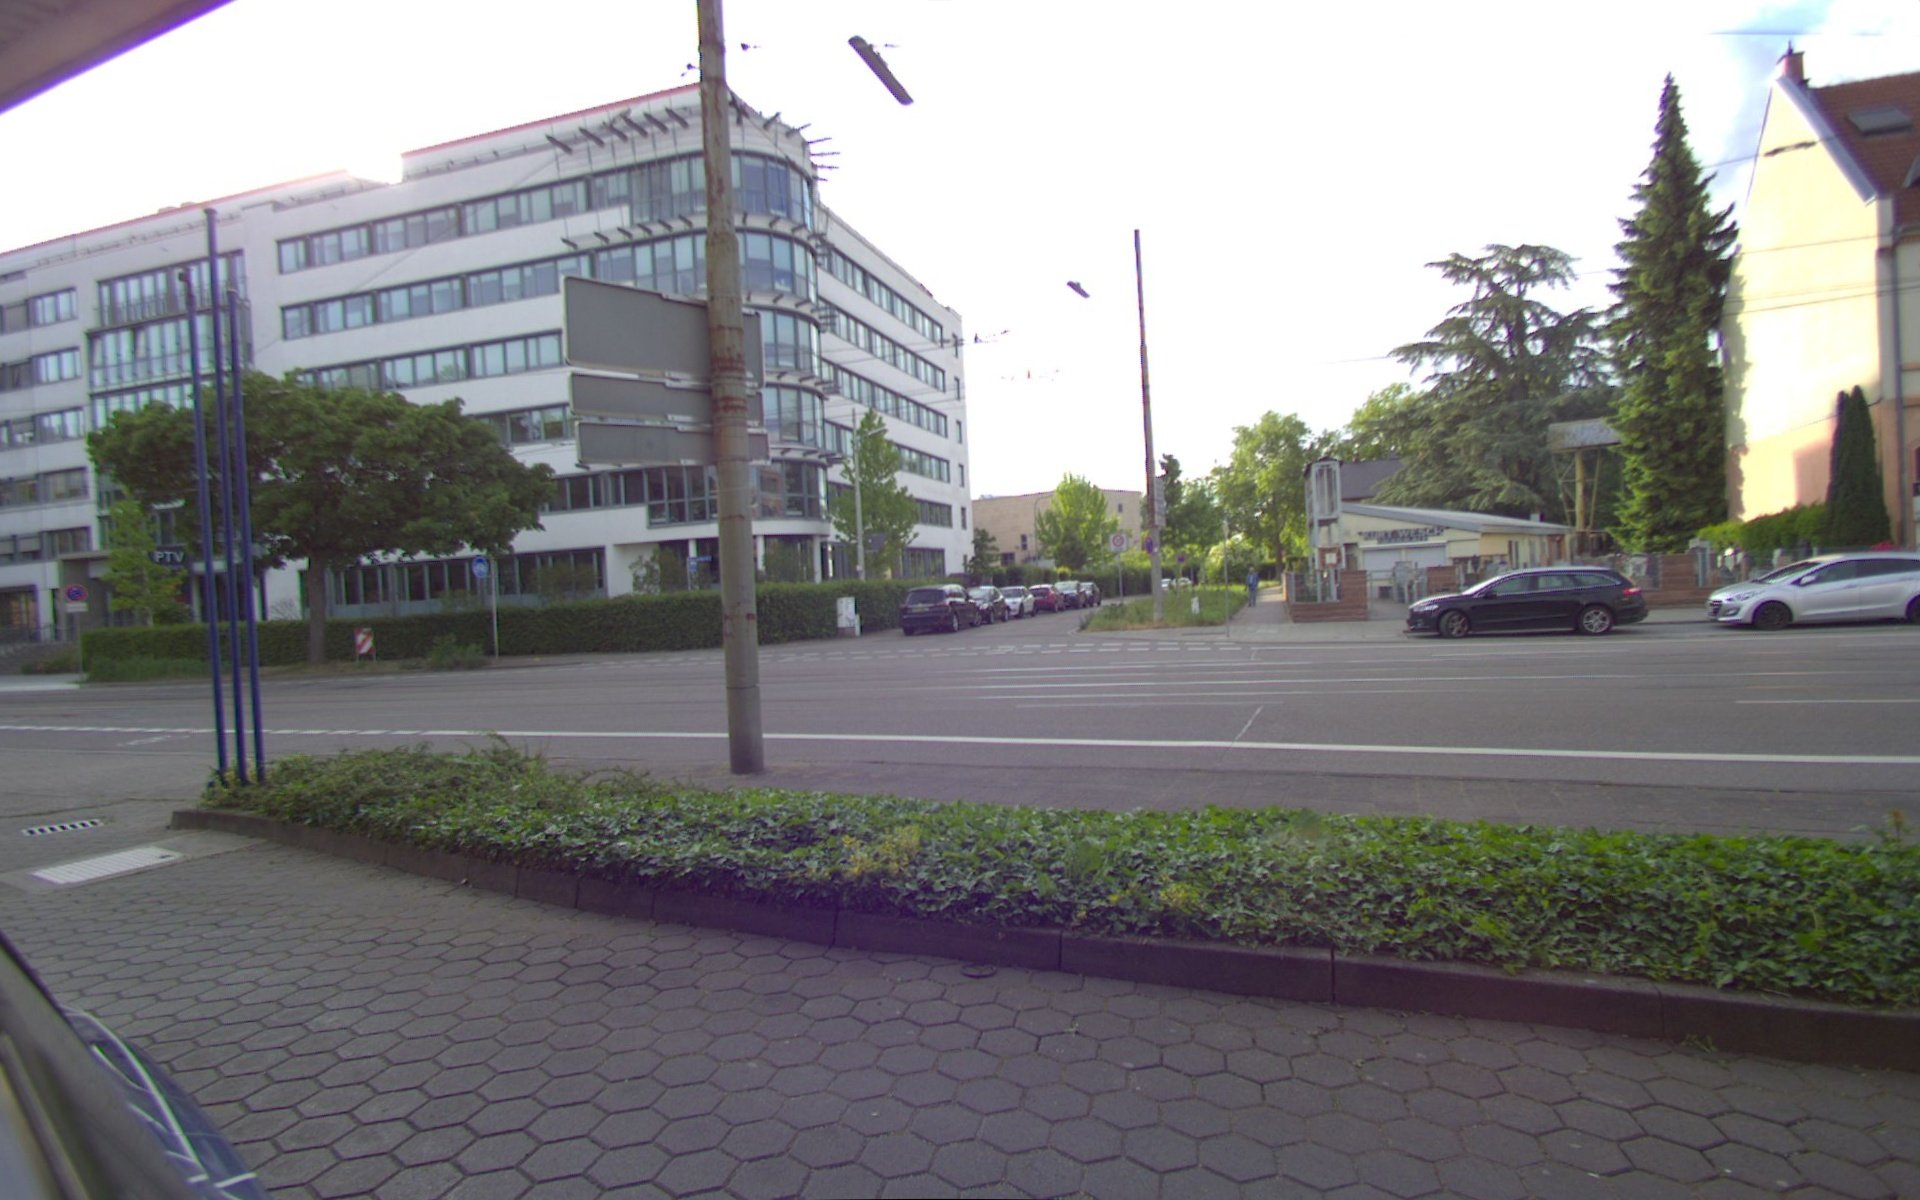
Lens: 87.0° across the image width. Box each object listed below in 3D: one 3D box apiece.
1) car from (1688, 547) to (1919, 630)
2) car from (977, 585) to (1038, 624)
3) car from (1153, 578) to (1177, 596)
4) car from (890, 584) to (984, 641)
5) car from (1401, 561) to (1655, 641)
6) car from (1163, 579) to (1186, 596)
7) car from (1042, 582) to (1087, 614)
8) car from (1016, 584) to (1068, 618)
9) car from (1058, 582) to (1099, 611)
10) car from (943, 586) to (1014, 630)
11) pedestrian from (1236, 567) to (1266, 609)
[{"bbox_3d":[18.493,-0.260,21.498,4.459,1.486,1.986,-4,0,22],"label":"car"},{"bbox_3d":[2.207,0.174,45.755,1.773,1.565,4.083,-4,0,17],"label":"car"},{"bbox_3d":[20.426,-1.273,100.614,1.774,1.653,4.060,-4,0,19],"label":"car"},{"bbox_3d":[-0.722,0.379,35.536,1.962,1.625,4.411,-4,2,17],"label":"car"},{"bbox_3d":[12.917,0.041,23.415,4.791,1.507,1.986,-3,0,22],"label":"car"},{"bbox_3d":[22.565,-1.302,106.311,1.774,1.653,4.060,-4,0,19],"label":"car"},{"bbox_3d":[5.982,-0.138,57.661,1.773,1.653,4.064,-4,0,17],"label":"car"},{"bbox_3d":[4.287,0.021,52.360,1.773,1.552,4.018,-4,0,17],"label":"car"},{"bbox_3d":[7.373,-0.235,62.672,1.773,1.653,4.064,-4,0,17],"label":"car"},{"bbox_3d":[0.799,0.287,40.894,1.773,1.565,4.083,-4,0,17],"label":"car"},{"bbox_3d":[12.827,-0.517,44.555,1.087,1.843,0.997,-1,0,26],"label":"pedestrian"}]
